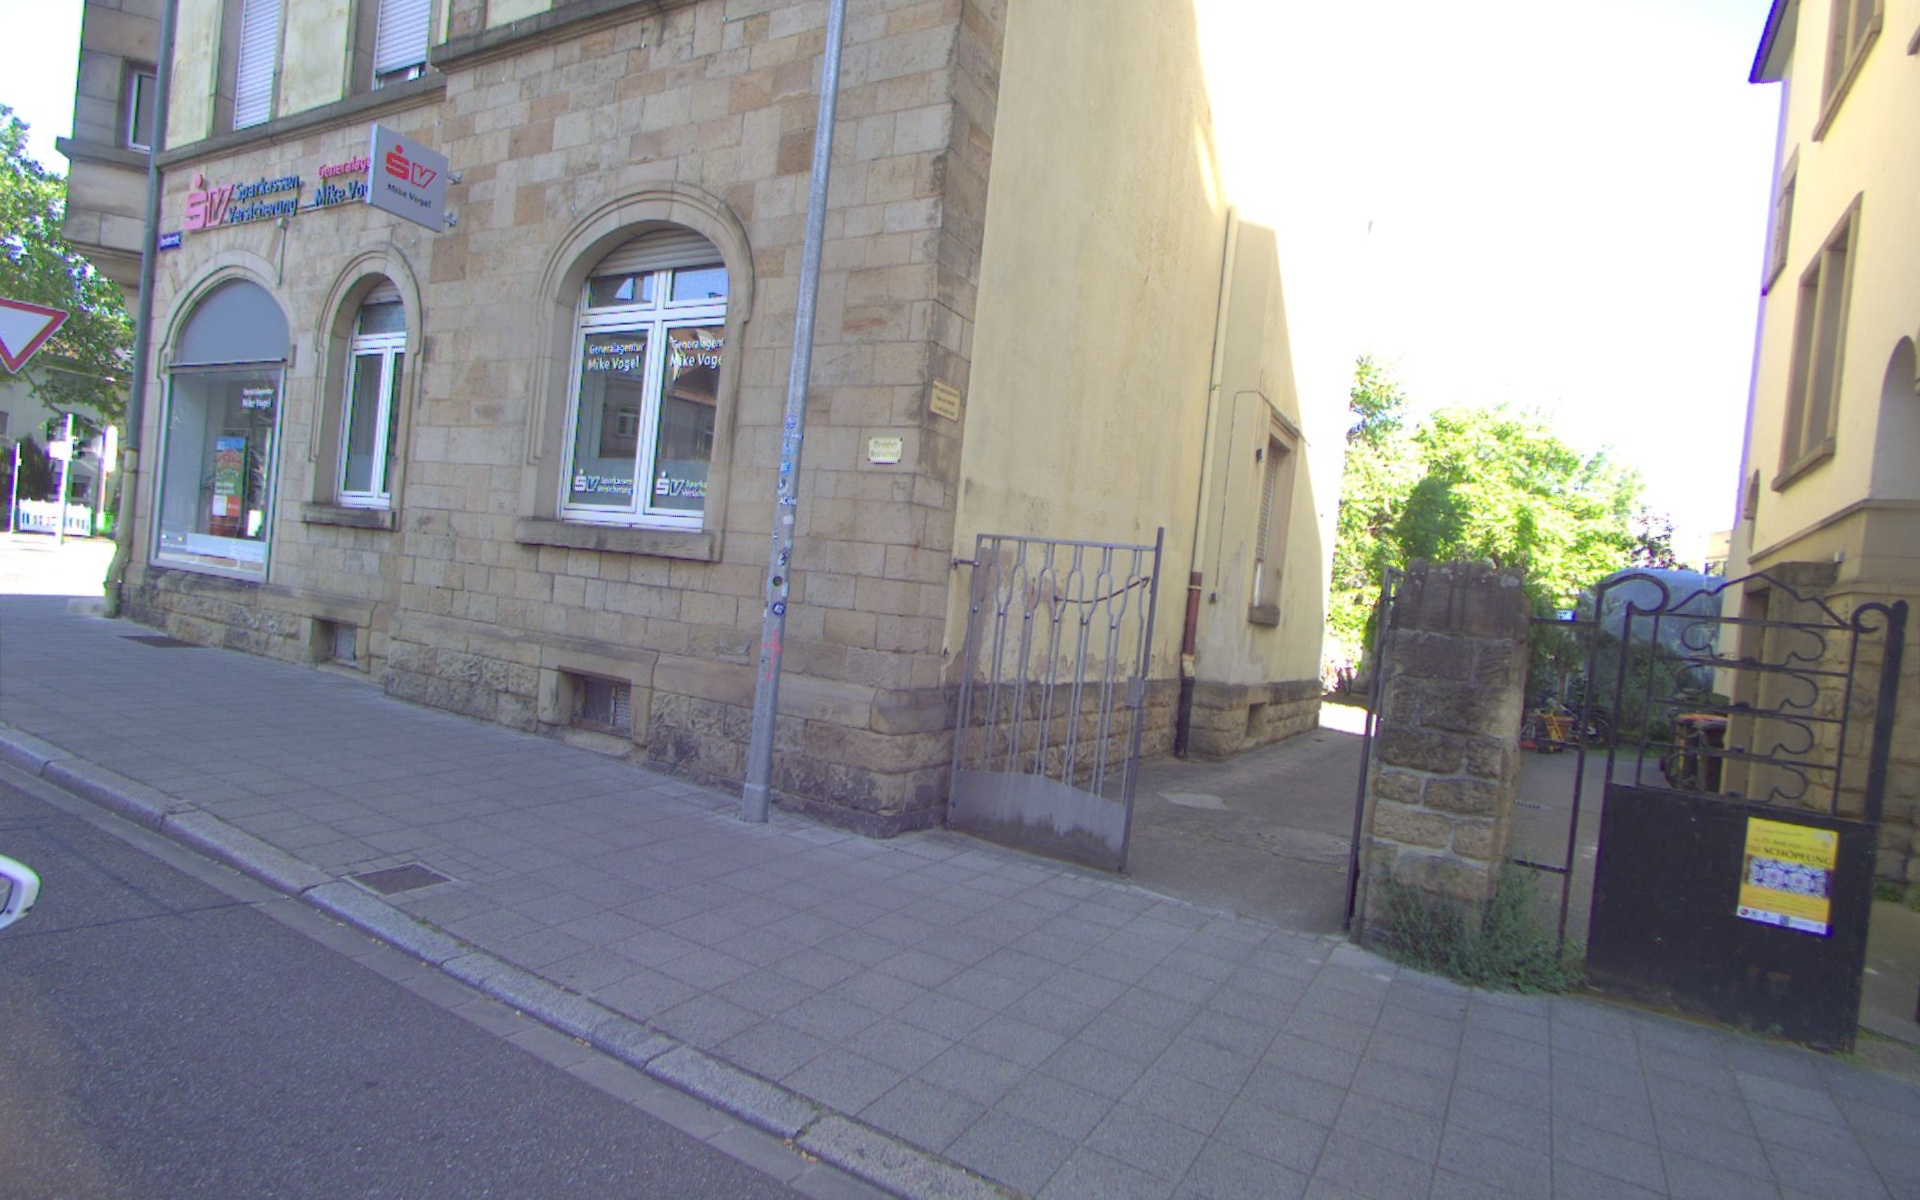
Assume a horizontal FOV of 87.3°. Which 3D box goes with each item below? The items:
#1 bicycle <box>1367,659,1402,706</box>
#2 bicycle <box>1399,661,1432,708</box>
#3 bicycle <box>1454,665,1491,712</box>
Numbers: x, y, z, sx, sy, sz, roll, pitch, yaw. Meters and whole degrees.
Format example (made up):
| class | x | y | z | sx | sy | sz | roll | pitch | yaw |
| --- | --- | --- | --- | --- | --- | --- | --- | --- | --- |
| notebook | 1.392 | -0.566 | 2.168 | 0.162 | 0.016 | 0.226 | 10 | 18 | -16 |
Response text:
| class | x | y | z | sx | sy | sz | roll | pitch | yaw |
| --- | --- | --- | --- | --- | --- | --- | --- | --- | --- |
| bicycle | 10.657 | 2.044 | 25.225 | 0.641 | 1.022 | 1.985 | 6 | 0 | 25 |
| bicycle | 11.297 | 2.070 | 24.939 | 0.642 | 1.022 | 1.985 | 4 | 0 | 25 |
| bicycle | 12.505 | 2.132 | 24.569 | 0.642 | 1.022 | 1.985 | 4 | 0 | 25 |
